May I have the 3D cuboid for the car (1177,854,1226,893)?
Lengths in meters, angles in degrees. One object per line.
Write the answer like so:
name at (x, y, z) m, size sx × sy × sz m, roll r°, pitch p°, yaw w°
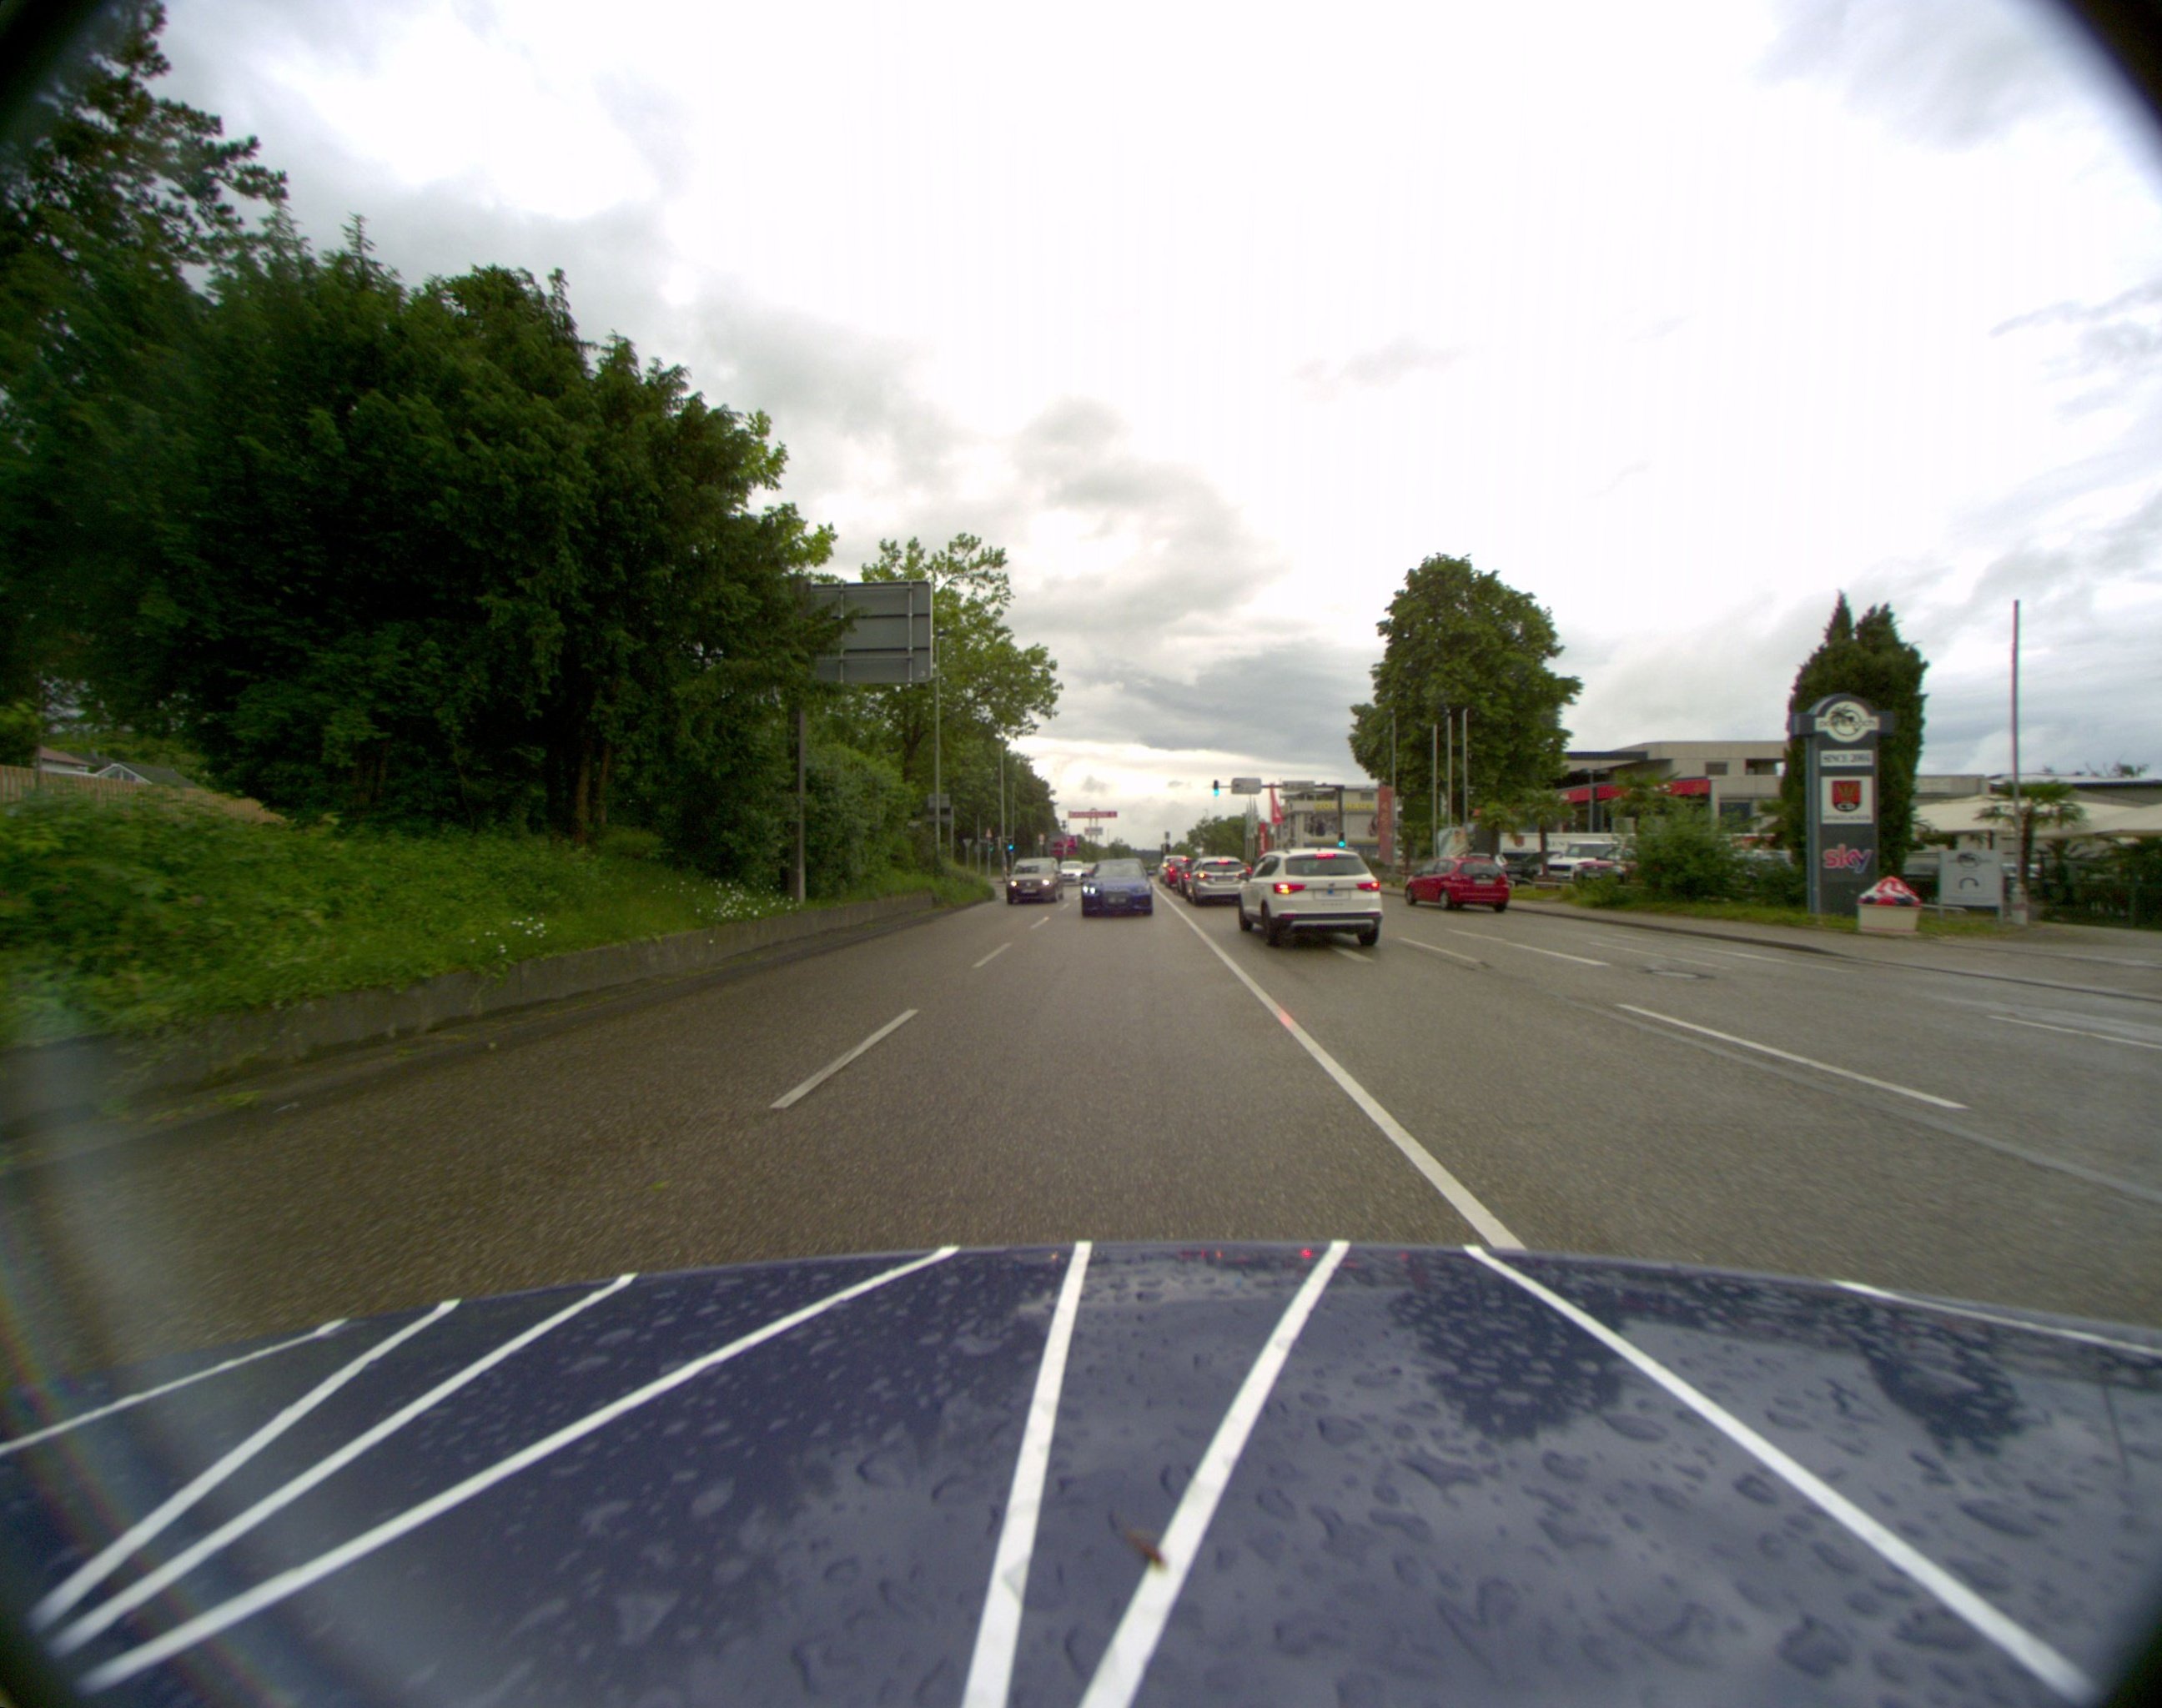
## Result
car at (4.820, 0.772, 30.827) m, size 1.605 × 1.432 × 3.950 m, roll -1°, pitch -1°, yaw 4°

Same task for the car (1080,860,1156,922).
car at (1.001, 0.900, 20.270) m, size 1.784 × 1.448 × 4.599 m, roll -1°, pitch -1°, yaw 3°

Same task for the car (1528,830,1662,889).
car at (18.945, 0.224, 27.987) m, size 4.406 × 2.002 × 1.996 m, roll 2°, pitch 0°, yaw -24°

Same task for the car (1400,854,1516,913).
car at (11.039, 0.792, 22.569) m, size 1.641 × 1.524 × 3.973 m, roll 2°, pitch 0°, yaw 4°

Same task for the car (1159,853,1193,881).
car at (5.888, 0.818, 47.347) m, size 1.843 × 1.639 × 4.299 m, roll 0°, pitch -1°, yaw 4°

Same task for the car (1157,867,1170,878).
car at (13.273, 2.919, 122.436) m, size 1.843 × 1.639 × 4.299 m, roll 1°, pitch -1°, yaw 4°

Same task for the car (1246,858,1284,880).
car at (12.283, 0.972, 50.938) m, size 1.605 × 1.391 × 4.406 m, roll 2°, pitch -1°, yaw 3°

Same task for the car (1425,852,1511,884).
car at (19.226, 0.646, 37.793) m, size 3.608 × 1.495 × 1.669 m, roll 1°, pitch 1°, yaw 33°

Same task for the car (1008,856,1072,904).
car at (-1.419, 0.890, 27.649) m, size 1.751 × 1.599 × 3.982 m, roll -1°, pitch -1°, yaw 5°

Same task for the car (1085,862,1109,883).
car at (1.253, 1.338, 56.499) m, size 1.633 × 1.448 × 3.539 m, roll -1°, pitch -1°, yaw 3°

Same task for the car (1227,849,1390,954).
car at (3.861, 0.715, 13.650) m, size 1.791 × 1.572 × 4.239 m, roll 0°, pitch 1°, yaw 2°

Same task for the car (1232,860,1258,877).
car at (13.724, 1.206, 63.740) m, size 1.626 × 1.324 × 3.948 m, roll 1°, pitch -1°, yaw 4°

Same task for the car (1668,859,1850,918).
car at (19.417, 0.989, 21.786) m, size 4.372 × 1.456 × 1.996 m, roll 2°, pitch 2°, yaw -20°

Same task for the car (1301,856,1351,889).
car at (11.606, 0.827, 36.185) m, size 1.640 × 1.469 × 4.047 m, roll 0°, pitch 0°, yaw 9°

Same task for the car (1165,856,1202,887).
car at (5.171, 0.842, 38.800) m, size 1.635 × 1.425 × 4.145 m, roll 0°, pitch 1°, yaw 4°

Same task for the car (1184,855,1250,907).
car at (4.218, 0.784, 23.975) m, size 1.605 × 1.433 × 3.949 m, roll -1°, pitch 1°, yaw 4°

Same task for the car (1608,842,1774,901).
car at (19.858, 0.570, 24.717) m, size 5.019 × 1.693 × 1.995 m, roll 2°, pitch 2°, yaw -23°

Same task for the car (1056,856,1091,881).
car at (-0.410, 0.879, 46.552) m, size 1.784 × 1.448 × 4.681 m, roll -1°, pitch -1°, yaw 3°
